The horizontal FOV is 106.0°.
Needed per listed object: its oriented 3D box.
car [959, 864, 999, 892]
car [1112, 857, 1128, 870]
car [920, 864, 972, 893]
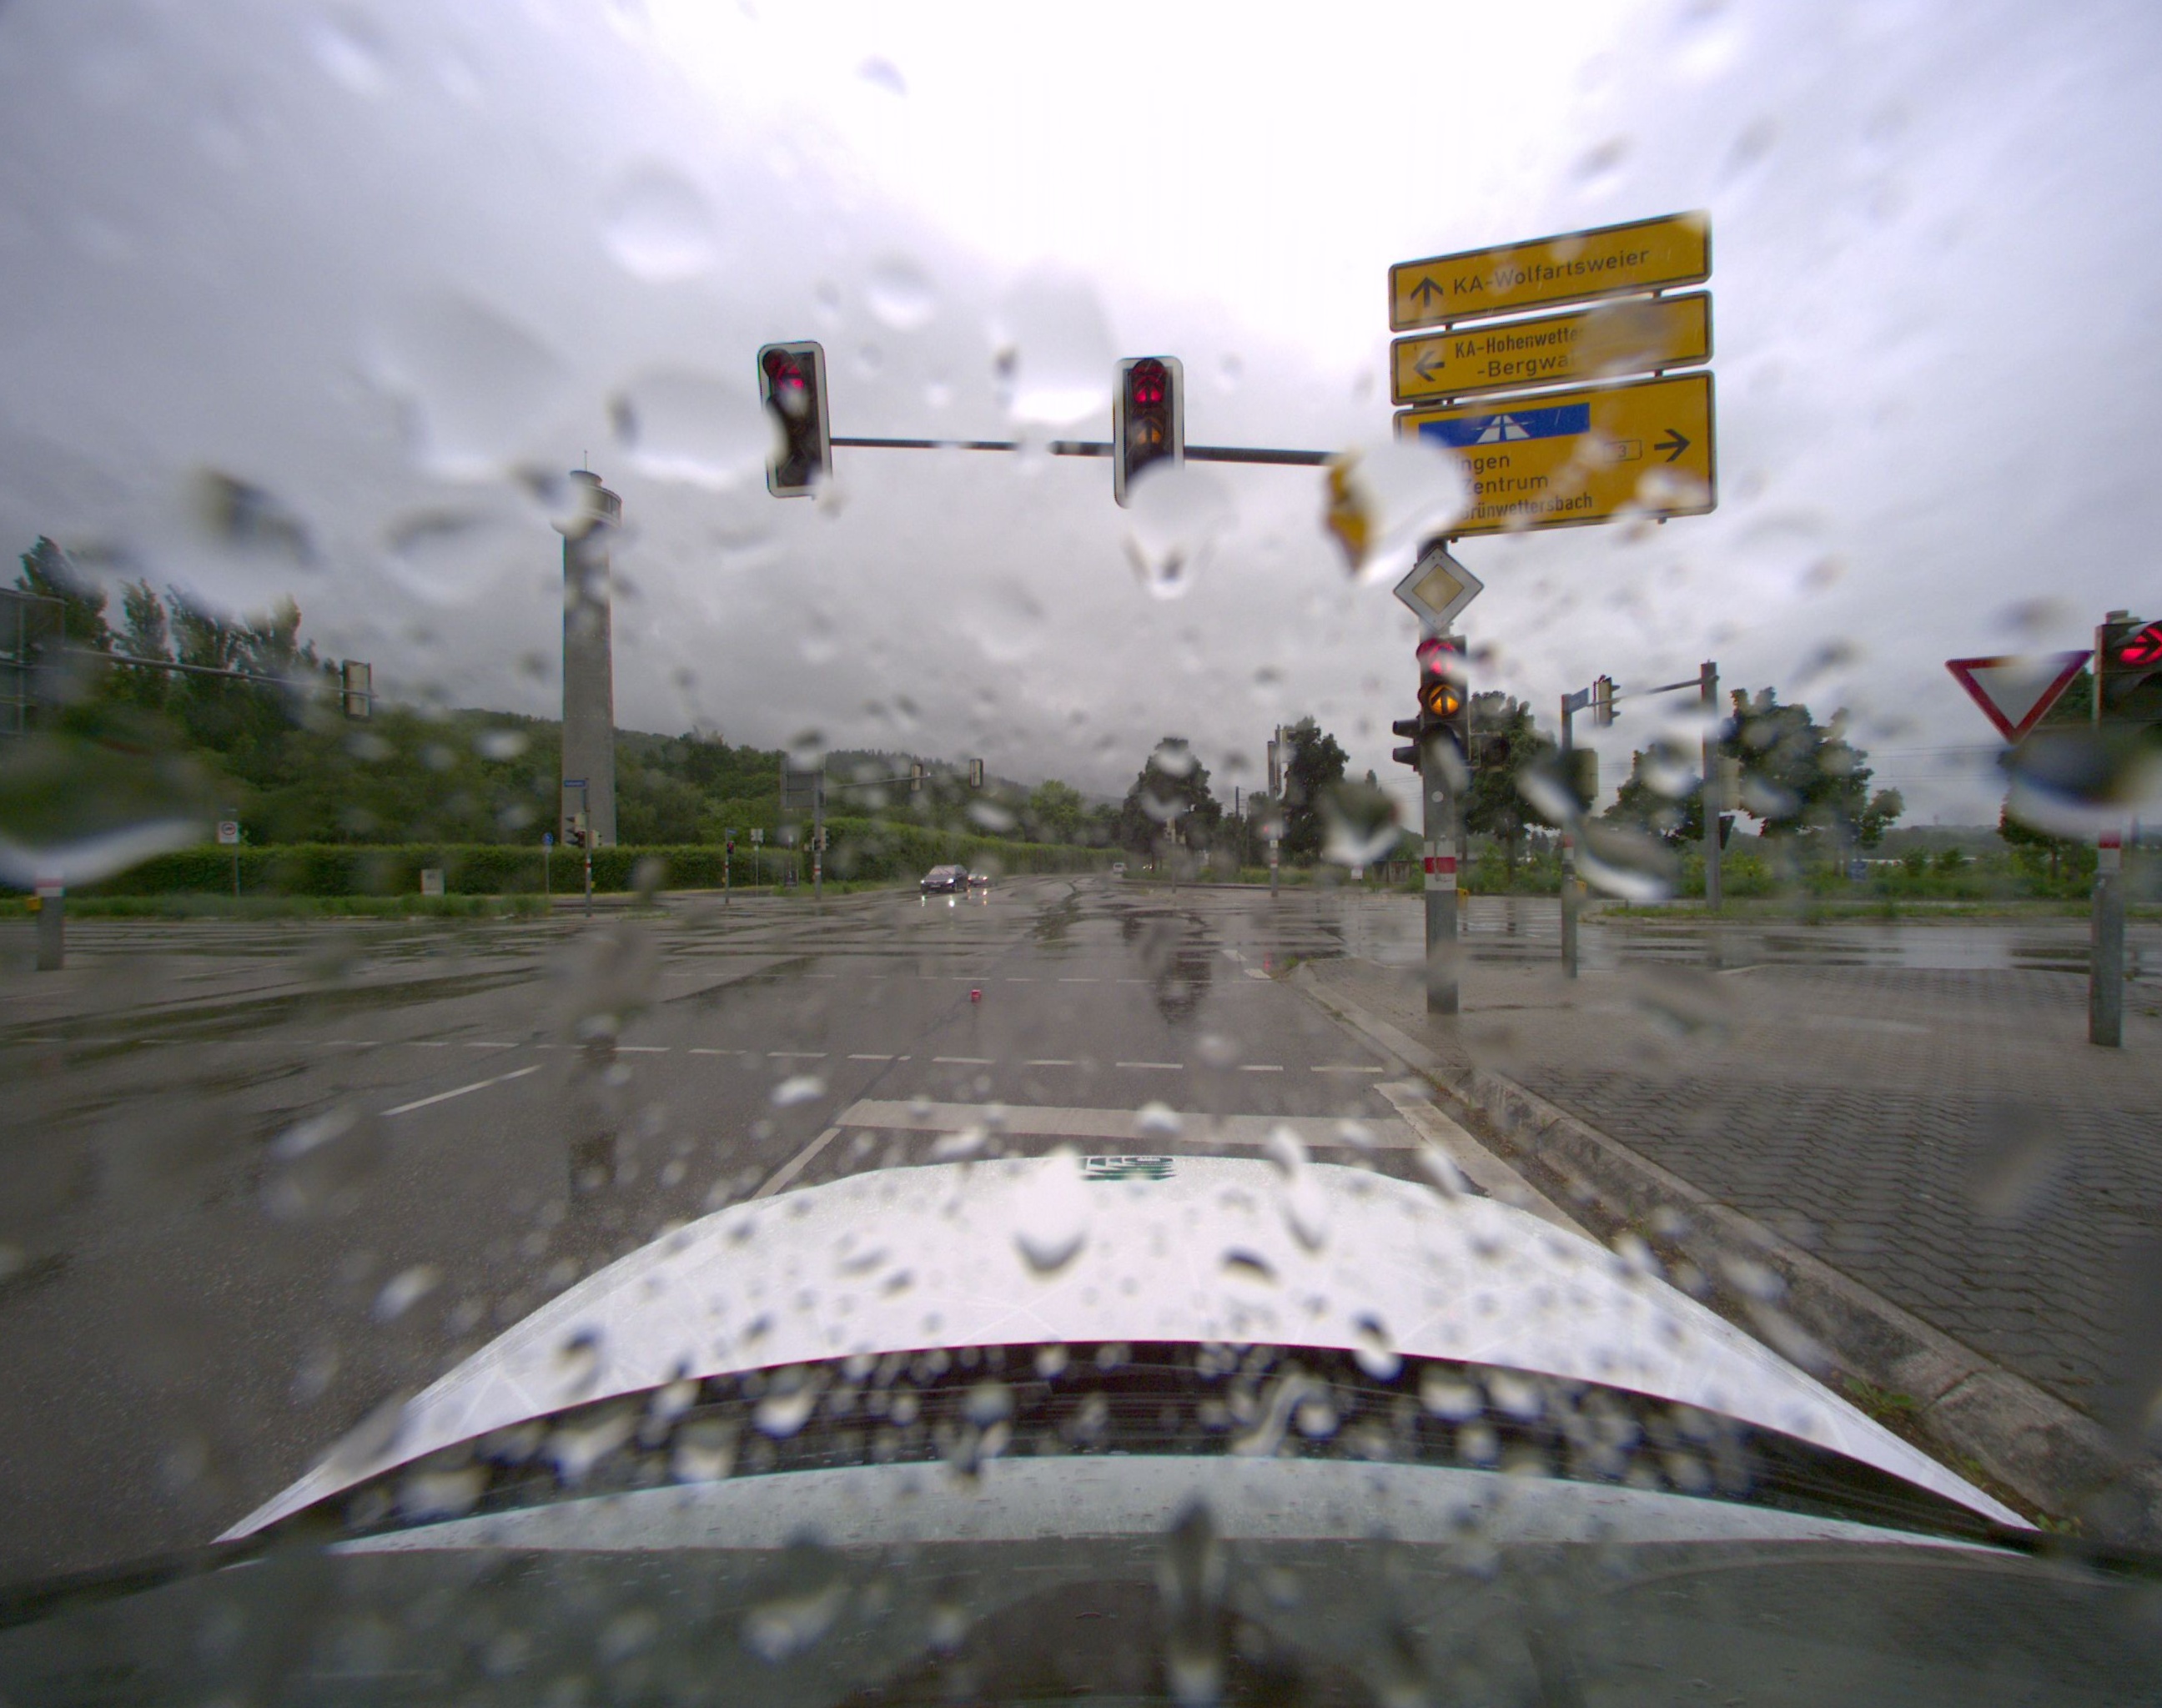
[{"bbox_3d":[-6.729,1.565,54.140,2.029,1.708,4.067,-1,0,2],"label":"car"},{"bbox_3d":[6.310,1.510,130.521,1.940,1.904,4.133,-1,0,12],"label":"car"},{"bbox_3d":[-7.180,1.281,43.736,1.701,1.466,4.458,-1,0,4],"label":"car"}]
